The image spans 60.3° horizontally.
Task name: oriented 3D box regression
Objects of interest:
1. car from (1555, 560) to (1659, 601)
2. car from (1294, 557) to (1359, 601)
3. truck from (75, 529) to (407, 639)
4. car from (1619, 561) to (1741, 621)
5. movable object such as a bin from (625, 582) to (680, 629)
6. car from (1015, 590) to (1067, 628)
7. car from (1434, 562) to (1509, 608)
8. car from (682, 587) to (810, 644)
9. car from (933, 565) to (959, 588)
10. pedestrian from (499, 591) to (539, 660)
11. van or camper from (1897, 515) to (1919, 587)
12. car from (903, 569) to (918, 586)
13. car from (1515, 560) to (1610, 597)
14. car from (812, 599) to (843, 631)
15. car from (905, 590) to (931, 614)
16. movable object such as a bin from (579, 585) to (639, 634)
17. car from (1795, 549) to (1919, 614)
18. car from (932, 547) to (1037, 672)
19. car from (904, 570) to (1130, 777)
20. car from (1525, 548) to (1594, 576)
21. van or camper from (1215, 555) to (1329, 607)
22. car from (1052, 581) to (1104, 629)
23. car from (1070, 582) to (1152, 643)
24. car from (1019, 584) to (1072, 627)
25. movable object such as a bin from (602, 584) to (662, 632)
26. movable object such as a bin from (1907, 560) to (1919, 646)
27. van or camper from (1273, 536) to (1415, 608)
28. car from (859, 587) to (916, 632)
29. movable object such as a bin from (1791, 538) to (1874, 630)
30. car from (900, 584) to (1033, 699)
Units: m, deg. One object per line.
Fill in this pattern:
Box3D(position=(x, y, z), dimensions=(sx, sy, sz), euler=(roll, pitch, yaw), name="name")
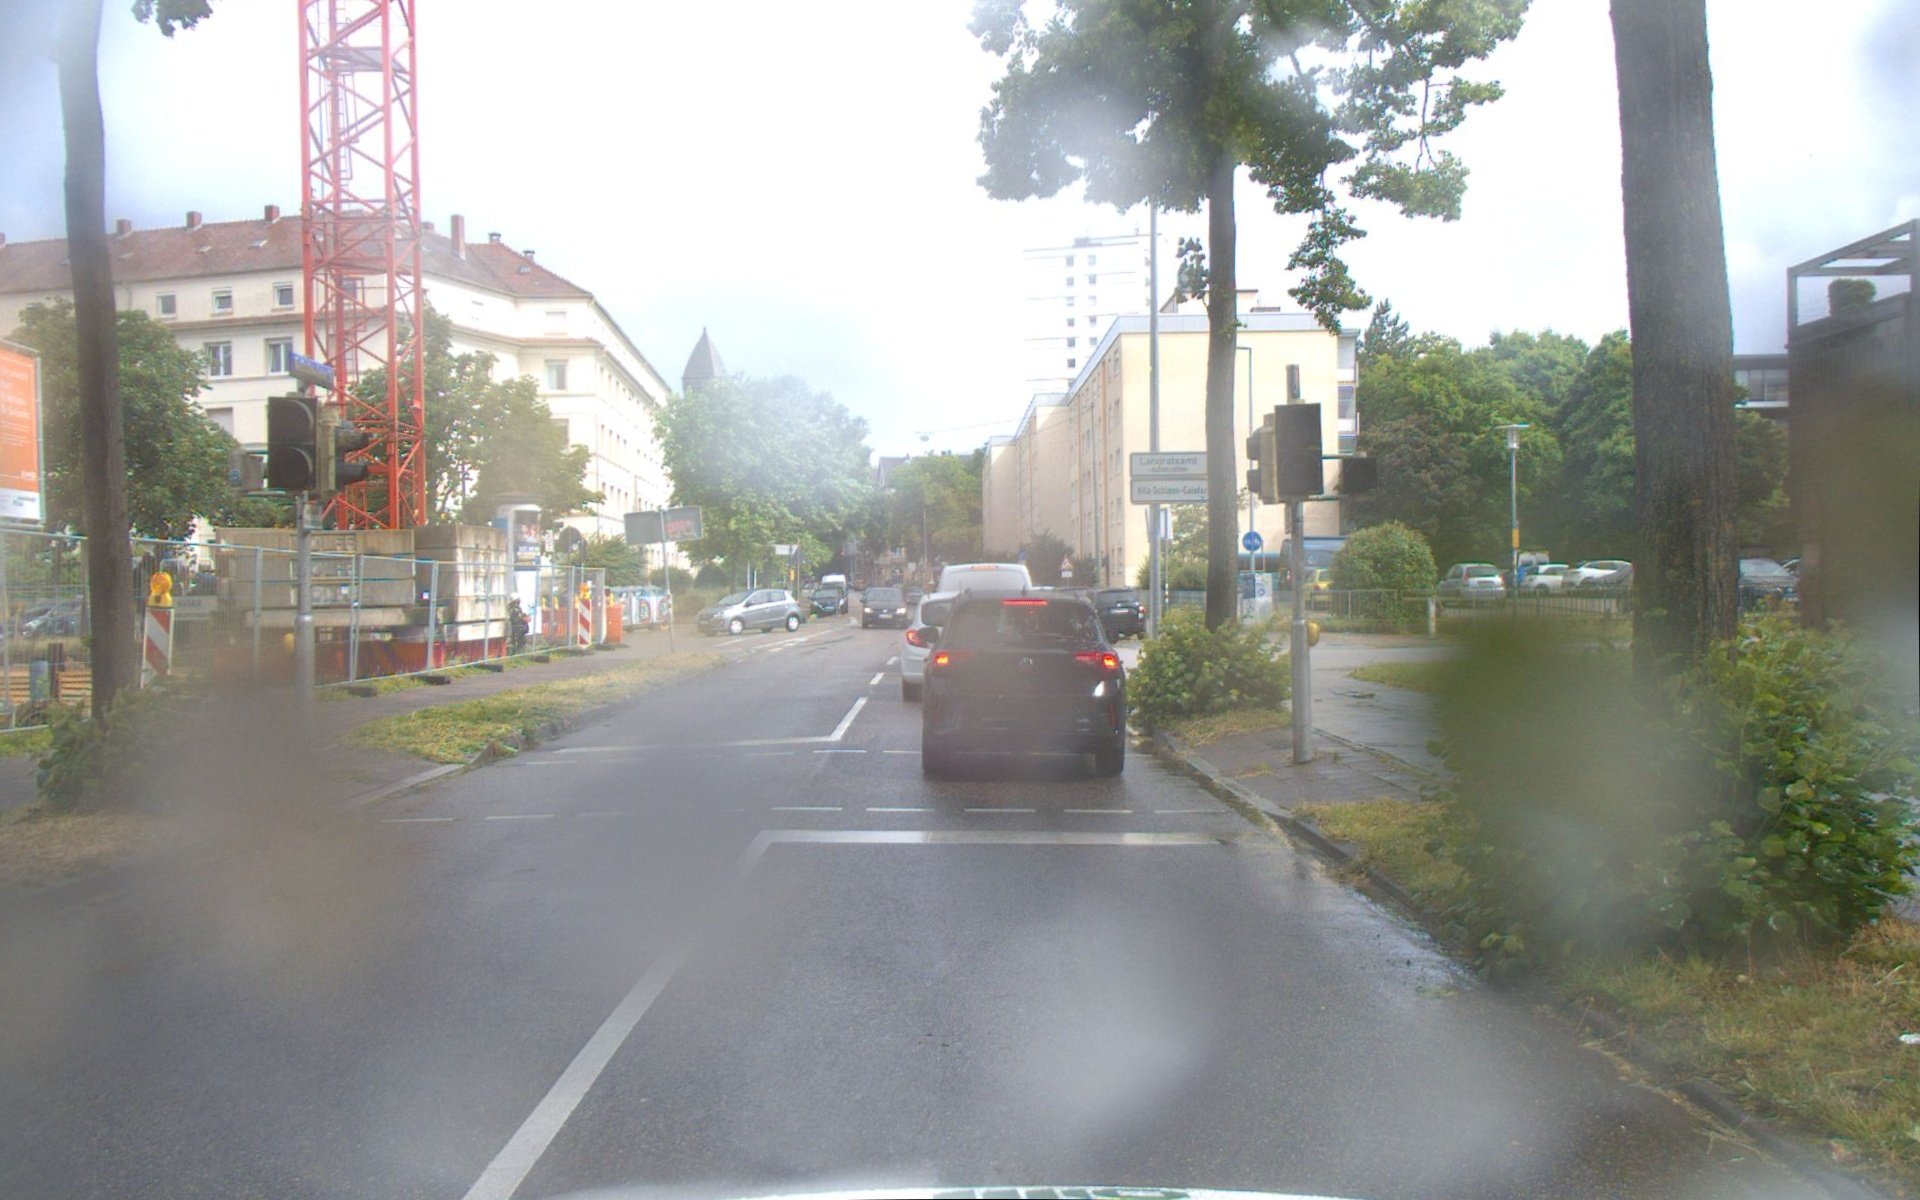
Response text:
Box3D(position=(26.508, -0.803, 67.824), dimensions=(3.590, 1.512, 1.640), euler=(-2, 0, 3), name="car")
Box3D(position=(13.135, -0.750, 59.410), dimensions=(1.577, 1.474, 3.417), euler=(-2, 1, 0), name="car")
Box3D(position=(-23.765, -0.510, 54.857), dimensions=(9.603, 3.239, 3.795), euler=(-2, 0, 13), name="truck")
Box3D(position=(20.406, -0.272, 47.081), dimensions=(1.790, 1.553, 4.426), euler=(-2, 1, 4), name="car")
Box3D(position=(-11.735, 0.212, 63.178), dimensions=(1.505, 1.691, 1.459), euler=(-1, 1, 18), name="movable object such as a bin")
Box3D(position=(3.418, 0.359, 70.303), dimensions=(1.714, 1.534, 4.108), euler=(-1, 1, -4), name="car")
Box3D(position=(18.136, -0.571, 58.812), dimensions=(1.614, 1.512, 3.720), euler=(-2, 2, 2), name="car")
Box3D(position=(-7.164, 0.511, 55.672), dimensions=(1.862, 1.665, 3.975), euler=(-3, 0, 43), name="car")
Box3D(position=(-1.059, -1.818, 126.772), dimensions=(1.803, 1.636, 3.676), euler=(-3, 0, 1), name="car")
Box3D(position=(-10.823, 0.624, 40.563), dimensions=(0.716, 1.658, 0.675), euler=(1, -1, -38), name="pedestrian")
Box3D(position=(36.836, -1.737, 59.799), dimensions=(4.688, 2.530, 2.257), euler=(1, -1, -1), name="van or camper")
Box3D(position=(-5.676, -2.617, 189.760), dimensions=(1.632, 1.870, 3.998), euler=(-2, 1, -3), name="car")
Box3D(position=(26.622, -0.964, 73.101), dimensions=(3.590, 1.512, 1.640), euler=(-2, 0, 3), name="car")
Box3D(position=(-7.007, 0.774, 87.496), dimensions=(1.555, 1.532, 4.060), euler=(-2, 1, -5), name="car")
Box3D(position=(-3.098, 0.138, 121.726), dimensions=(1.705, 1.636, 3.676), euler=(-3, 0, 1), name="car")
Box3D(position=(-12.732, 0.331, 60.088), dimensions=(1.505, 1.685, 1.528), euler=(-1, 1, 18), name="movable object such as a bin")
Box3D(position=(25.292, -0.523, 46.124), dimensions=(1.815, 1.708, 4.424), euler=(-2, 1, 2), name="car")
Box3D(position=(0.479, 0.181, 30.713), dimensions=(1.798, 2.139, 4.000), euler=(1, 0, 1), name="car")
Box3D(position=(0.449, 0.608, 15.605), dimensions=(1.835, 1.674, 4.061), euler=(1, 0, -1), name="car")
Box3D(position=(32.098, -2.031, 88.645), dimensions=(3.158, 1.422, 1.509), euler=(-2, 0, 3), name="car")
Box3D(position=(13.755, -0.863, 73.095), dimensions=(4.660, 2.168, 2.323), euler=(-1, 1, 3), name="van or camper")
Box3D(position=(4.189, 0.203, 59.006), dimensions=(1.720, 1.554, 4.001), euler=(2, -1, 3), name="car")
Box3D(position=(4.276, 0.309, 47.559), dimensions=(1.738, 1.566, 4.376), euler=(-3, 1, -2), name="car")
Box3D(position=(3.281, 0.193, 64.378), dimensions=(1.572, 1.534, 4.158), euler=(-3, 0, -3), name="car")
Box3D(position=(-12.219, 0.282, 61.656), dimensions=(1.505, 1.703, 1.667), euler=(-1, 1, 18), name="movable object such as a bin")
Box3D(position=(17.098, 0.040, 28.193), dimensions=(1.083, 1.482, 1.391), euler=(-3, 1, 1), name="movable object such as a bin")
Box3D(position=(14.568, -1.049, 62.977), dimensions=(4.895, 2.599, 2.175), euler=(-1, -1, 1), name="van or camper")
Box3D(position=(-2.605, 0.336, 60.105), dimensions=(1.776, 1.567, 3.982), euler=(0, 0, 1), name="car")
Box3D(position=(14.745, -0.275, 27.984), dimensions=(0.783, 1.482, 1.097), euler=(-2, 1, 1), name="movable object such as a bin")
Box3D(position=(0.073, 0.574, 24.304), dimensions=(1.776, 1.529, 3.999), euler=(1, 0, 0), name="car")
